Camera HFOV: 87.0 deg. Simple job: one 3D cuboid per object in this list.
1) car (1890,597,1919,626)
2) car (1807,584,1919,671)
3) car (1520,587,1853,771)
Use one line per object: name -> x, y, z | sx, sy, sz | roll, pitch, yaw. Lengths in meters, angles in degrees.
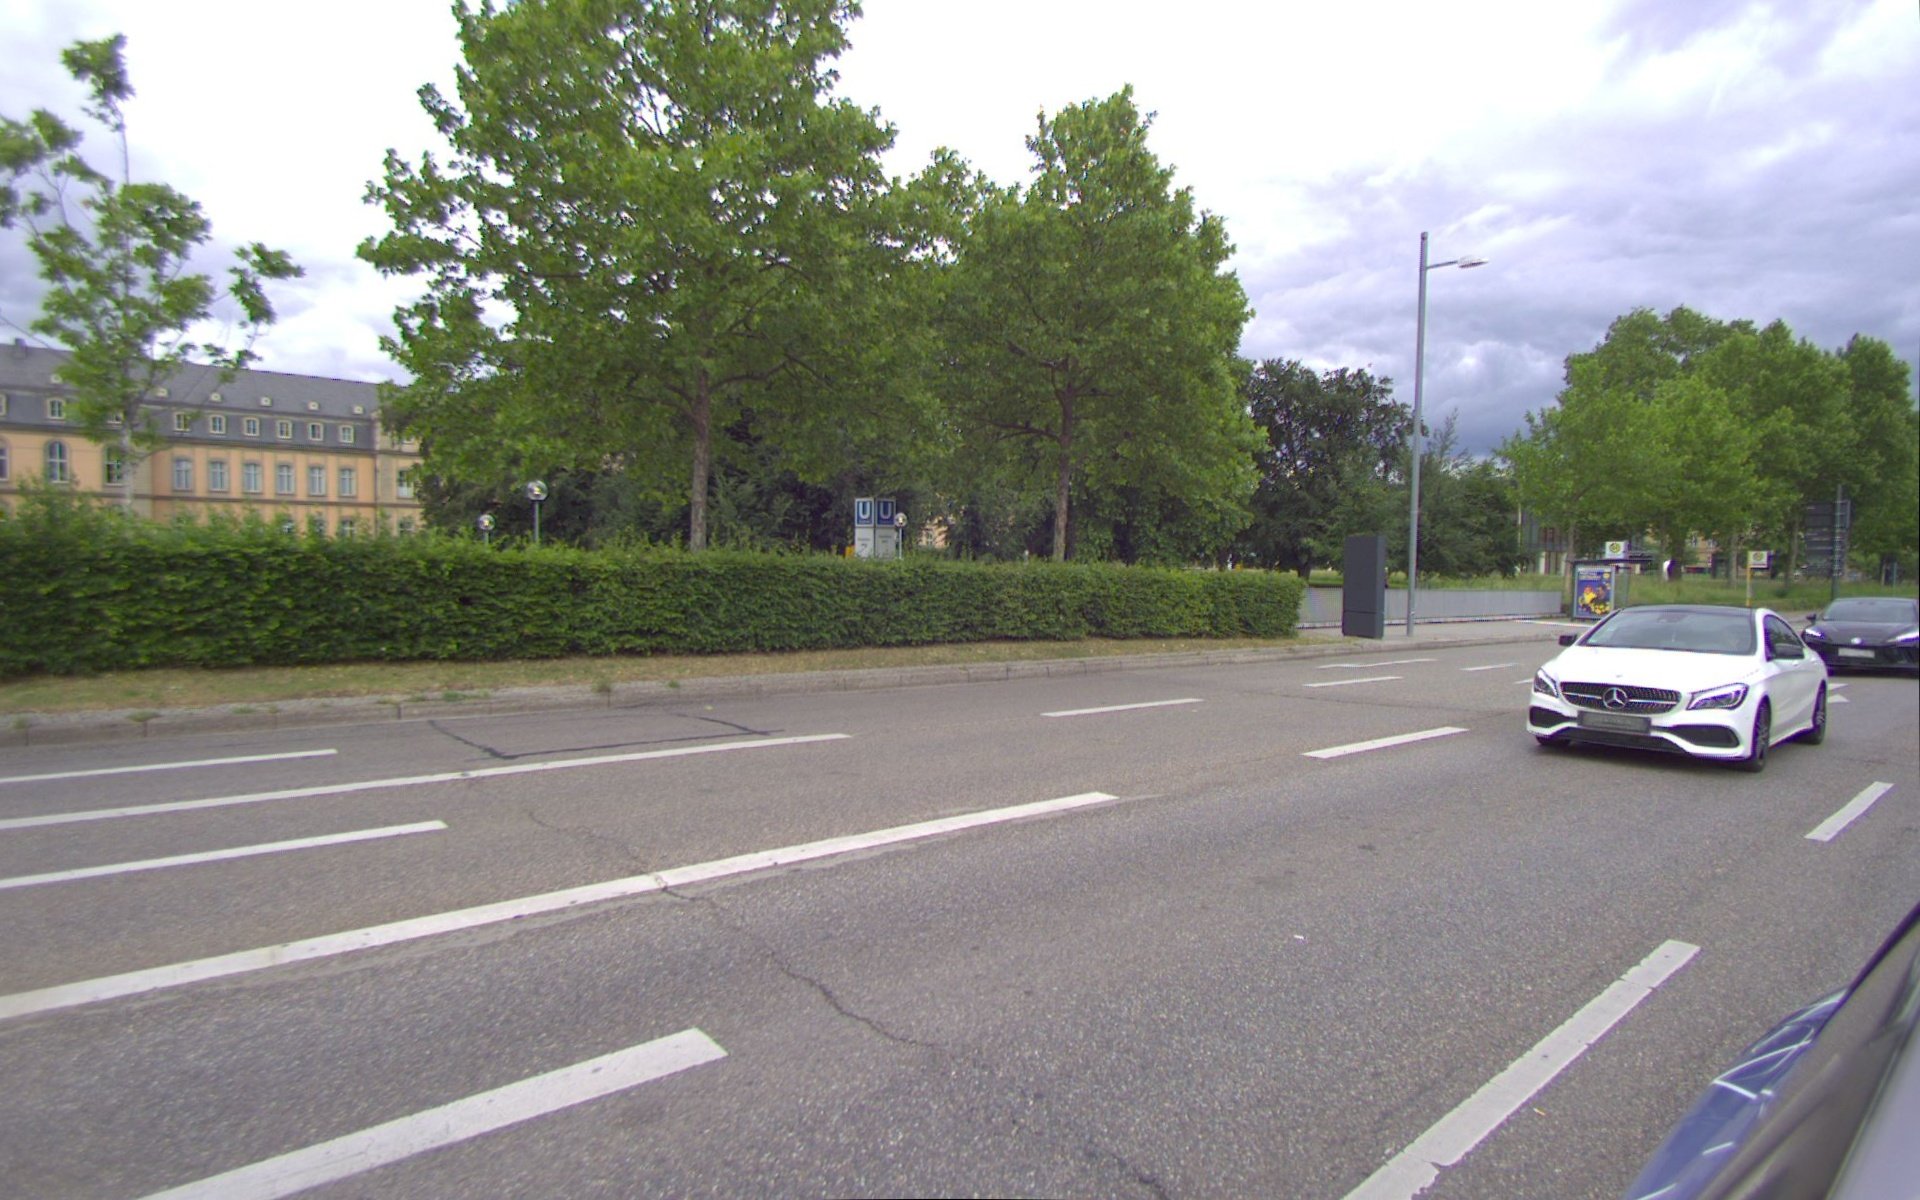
car -> 50.563, 0.606, 53.318 | 3.929, 1.438, 1.867 | -1, 1, -40
car -> 18.242, 0.489, 19.881 | 4.047, 1.543, 1.828 | 0, 1, -41
car -> 7.452, 0.604, 10.200 | 4.427, 1.441, 1.722 | -1, 2, -41
